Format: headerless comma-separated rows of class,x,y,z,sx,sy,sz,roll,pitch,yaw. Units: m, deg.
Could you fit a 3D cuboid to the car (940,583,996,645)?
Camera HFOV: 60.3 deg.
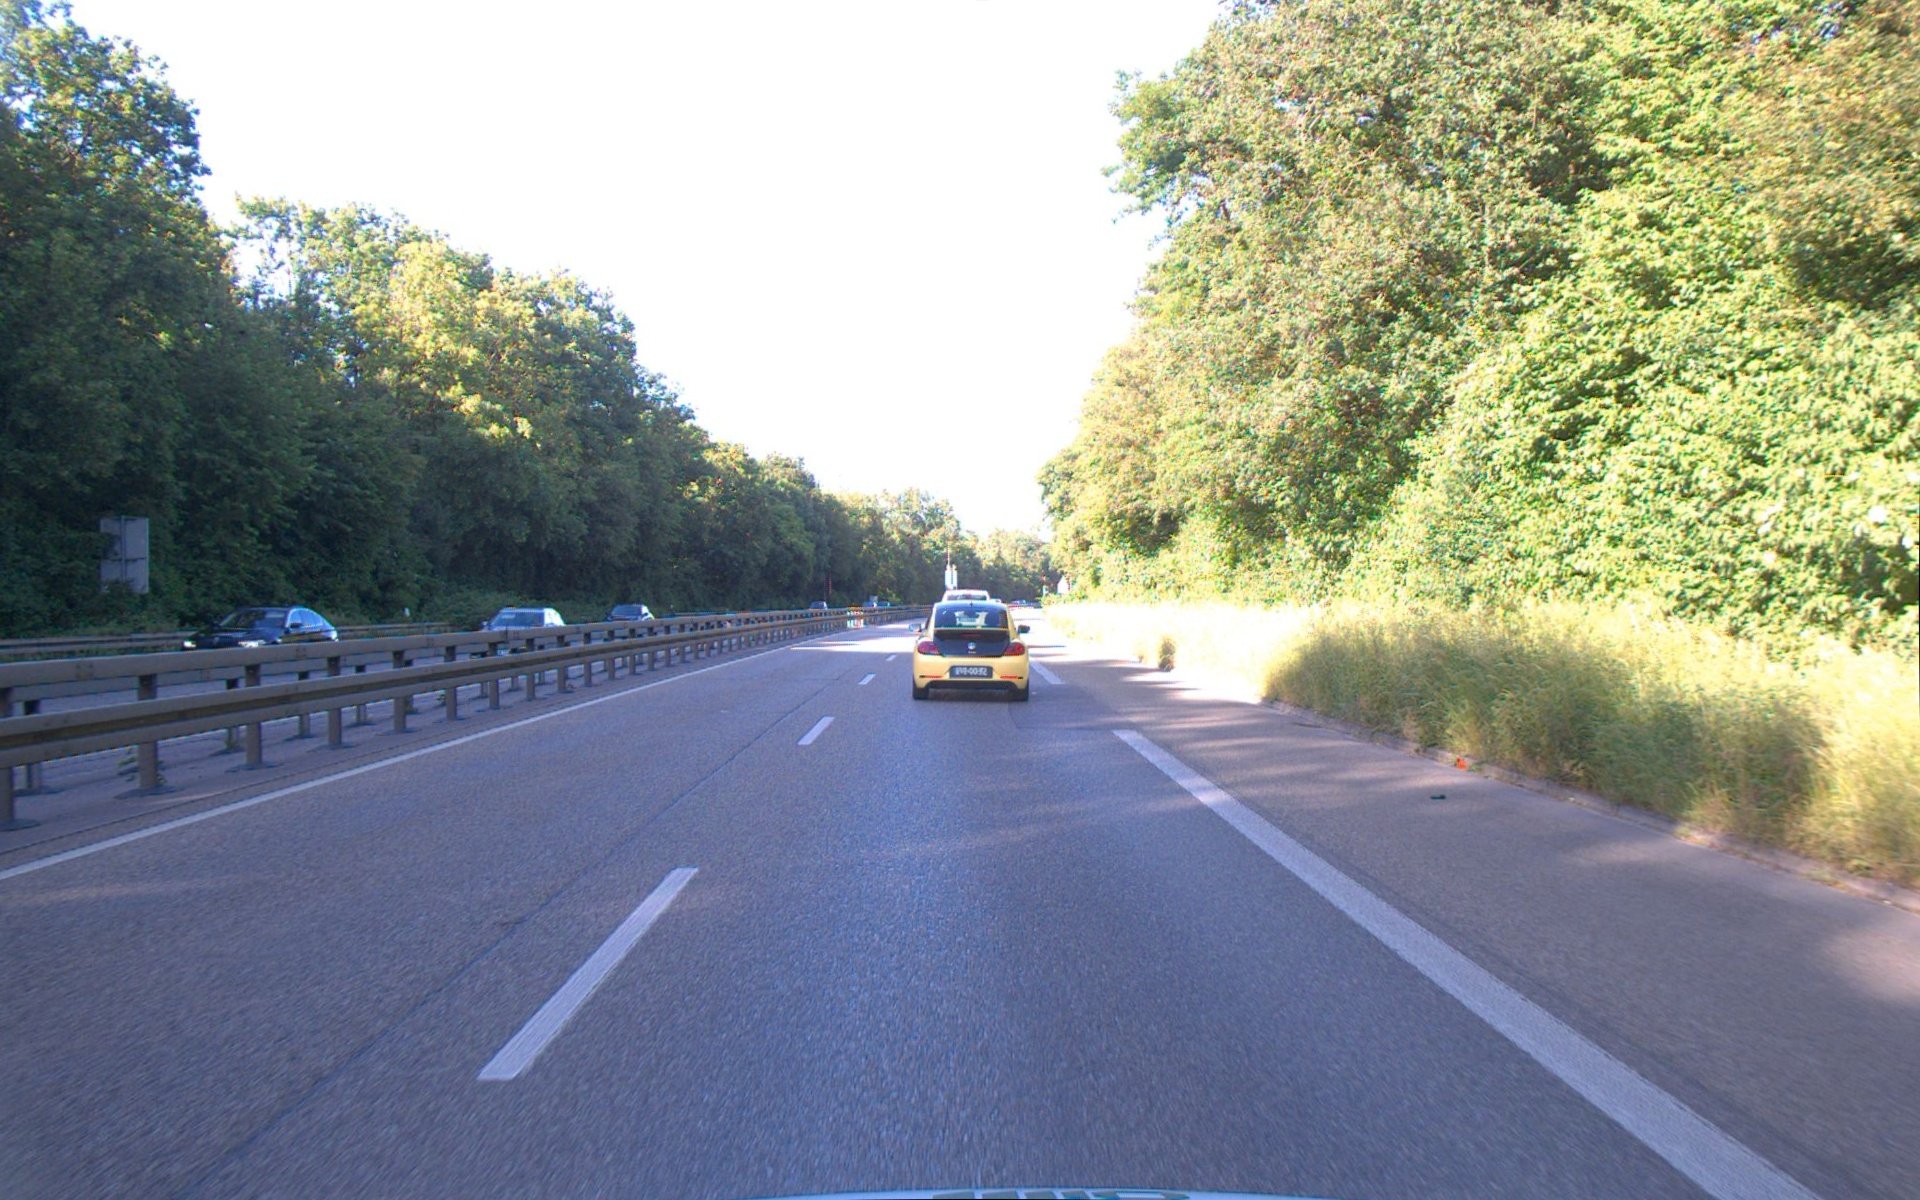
car,0.272,0.416,52.277,1.705,1.862,3.423,1,0,1

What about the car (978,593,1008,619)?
car,2.527,0.448,129.683,2.217,1.908,5.076,-2,0,0

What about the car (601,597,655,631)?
car,-14.574,0.613,72.722,1.573,1.448,4.000,0,0,0

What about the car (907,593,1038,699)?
car,0.239,0.670,25.755,1.899,1.534,3.423,0,0,2

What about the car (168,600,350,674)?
car,-15.596,0.775,37.123,1.953,1.489,4.902,-2,0,0

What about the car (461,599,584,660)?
car,-11.570,0.746,44.044,1.953,1.489,4.740,-2,0,0

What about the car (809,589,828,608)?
car,-12.304,-0.146,143.919,1.384,1.648,2.875,0,0,1
